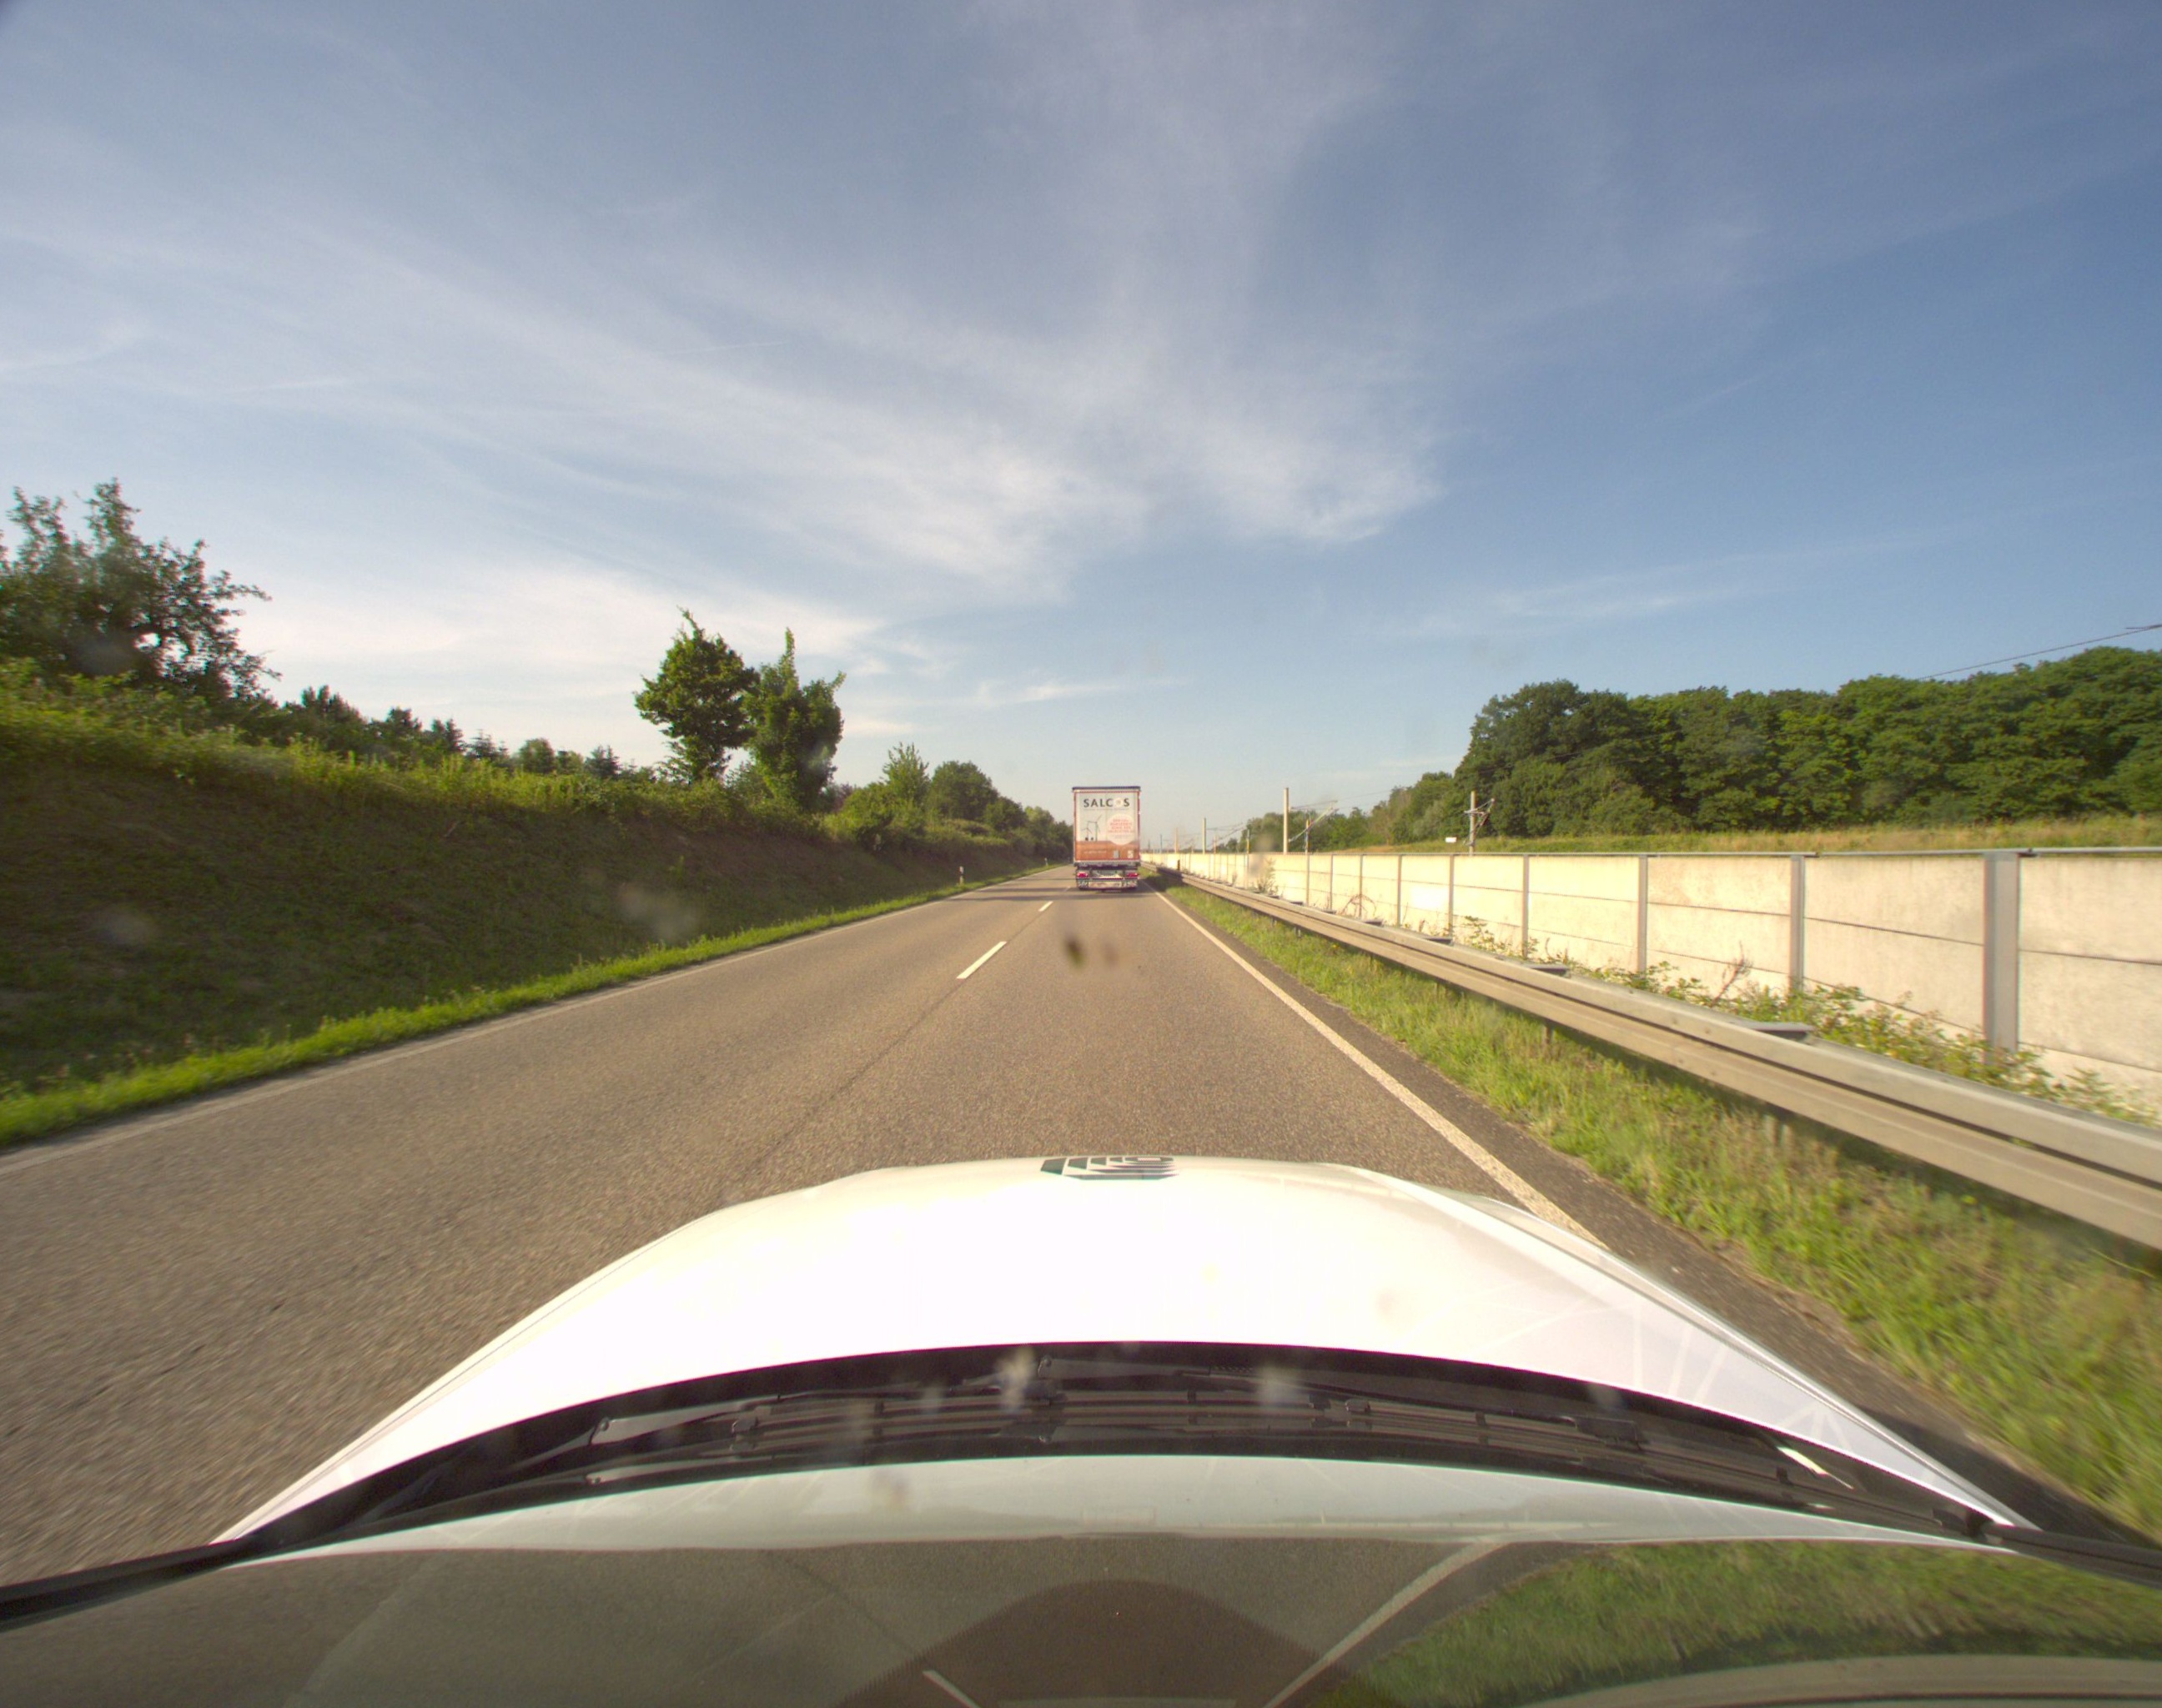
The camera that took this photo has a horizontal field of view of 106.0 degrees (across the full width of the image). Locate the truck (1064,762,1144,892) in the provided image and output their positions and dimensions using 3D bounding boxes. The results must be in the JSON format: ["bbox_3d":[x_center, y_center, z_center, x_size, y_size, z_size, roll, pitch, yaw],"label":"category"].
[{"bbox_3d":[0.975,-1.015,36.761,3.022,4.920,11.685,0,0,1],"label":"truck"}]
